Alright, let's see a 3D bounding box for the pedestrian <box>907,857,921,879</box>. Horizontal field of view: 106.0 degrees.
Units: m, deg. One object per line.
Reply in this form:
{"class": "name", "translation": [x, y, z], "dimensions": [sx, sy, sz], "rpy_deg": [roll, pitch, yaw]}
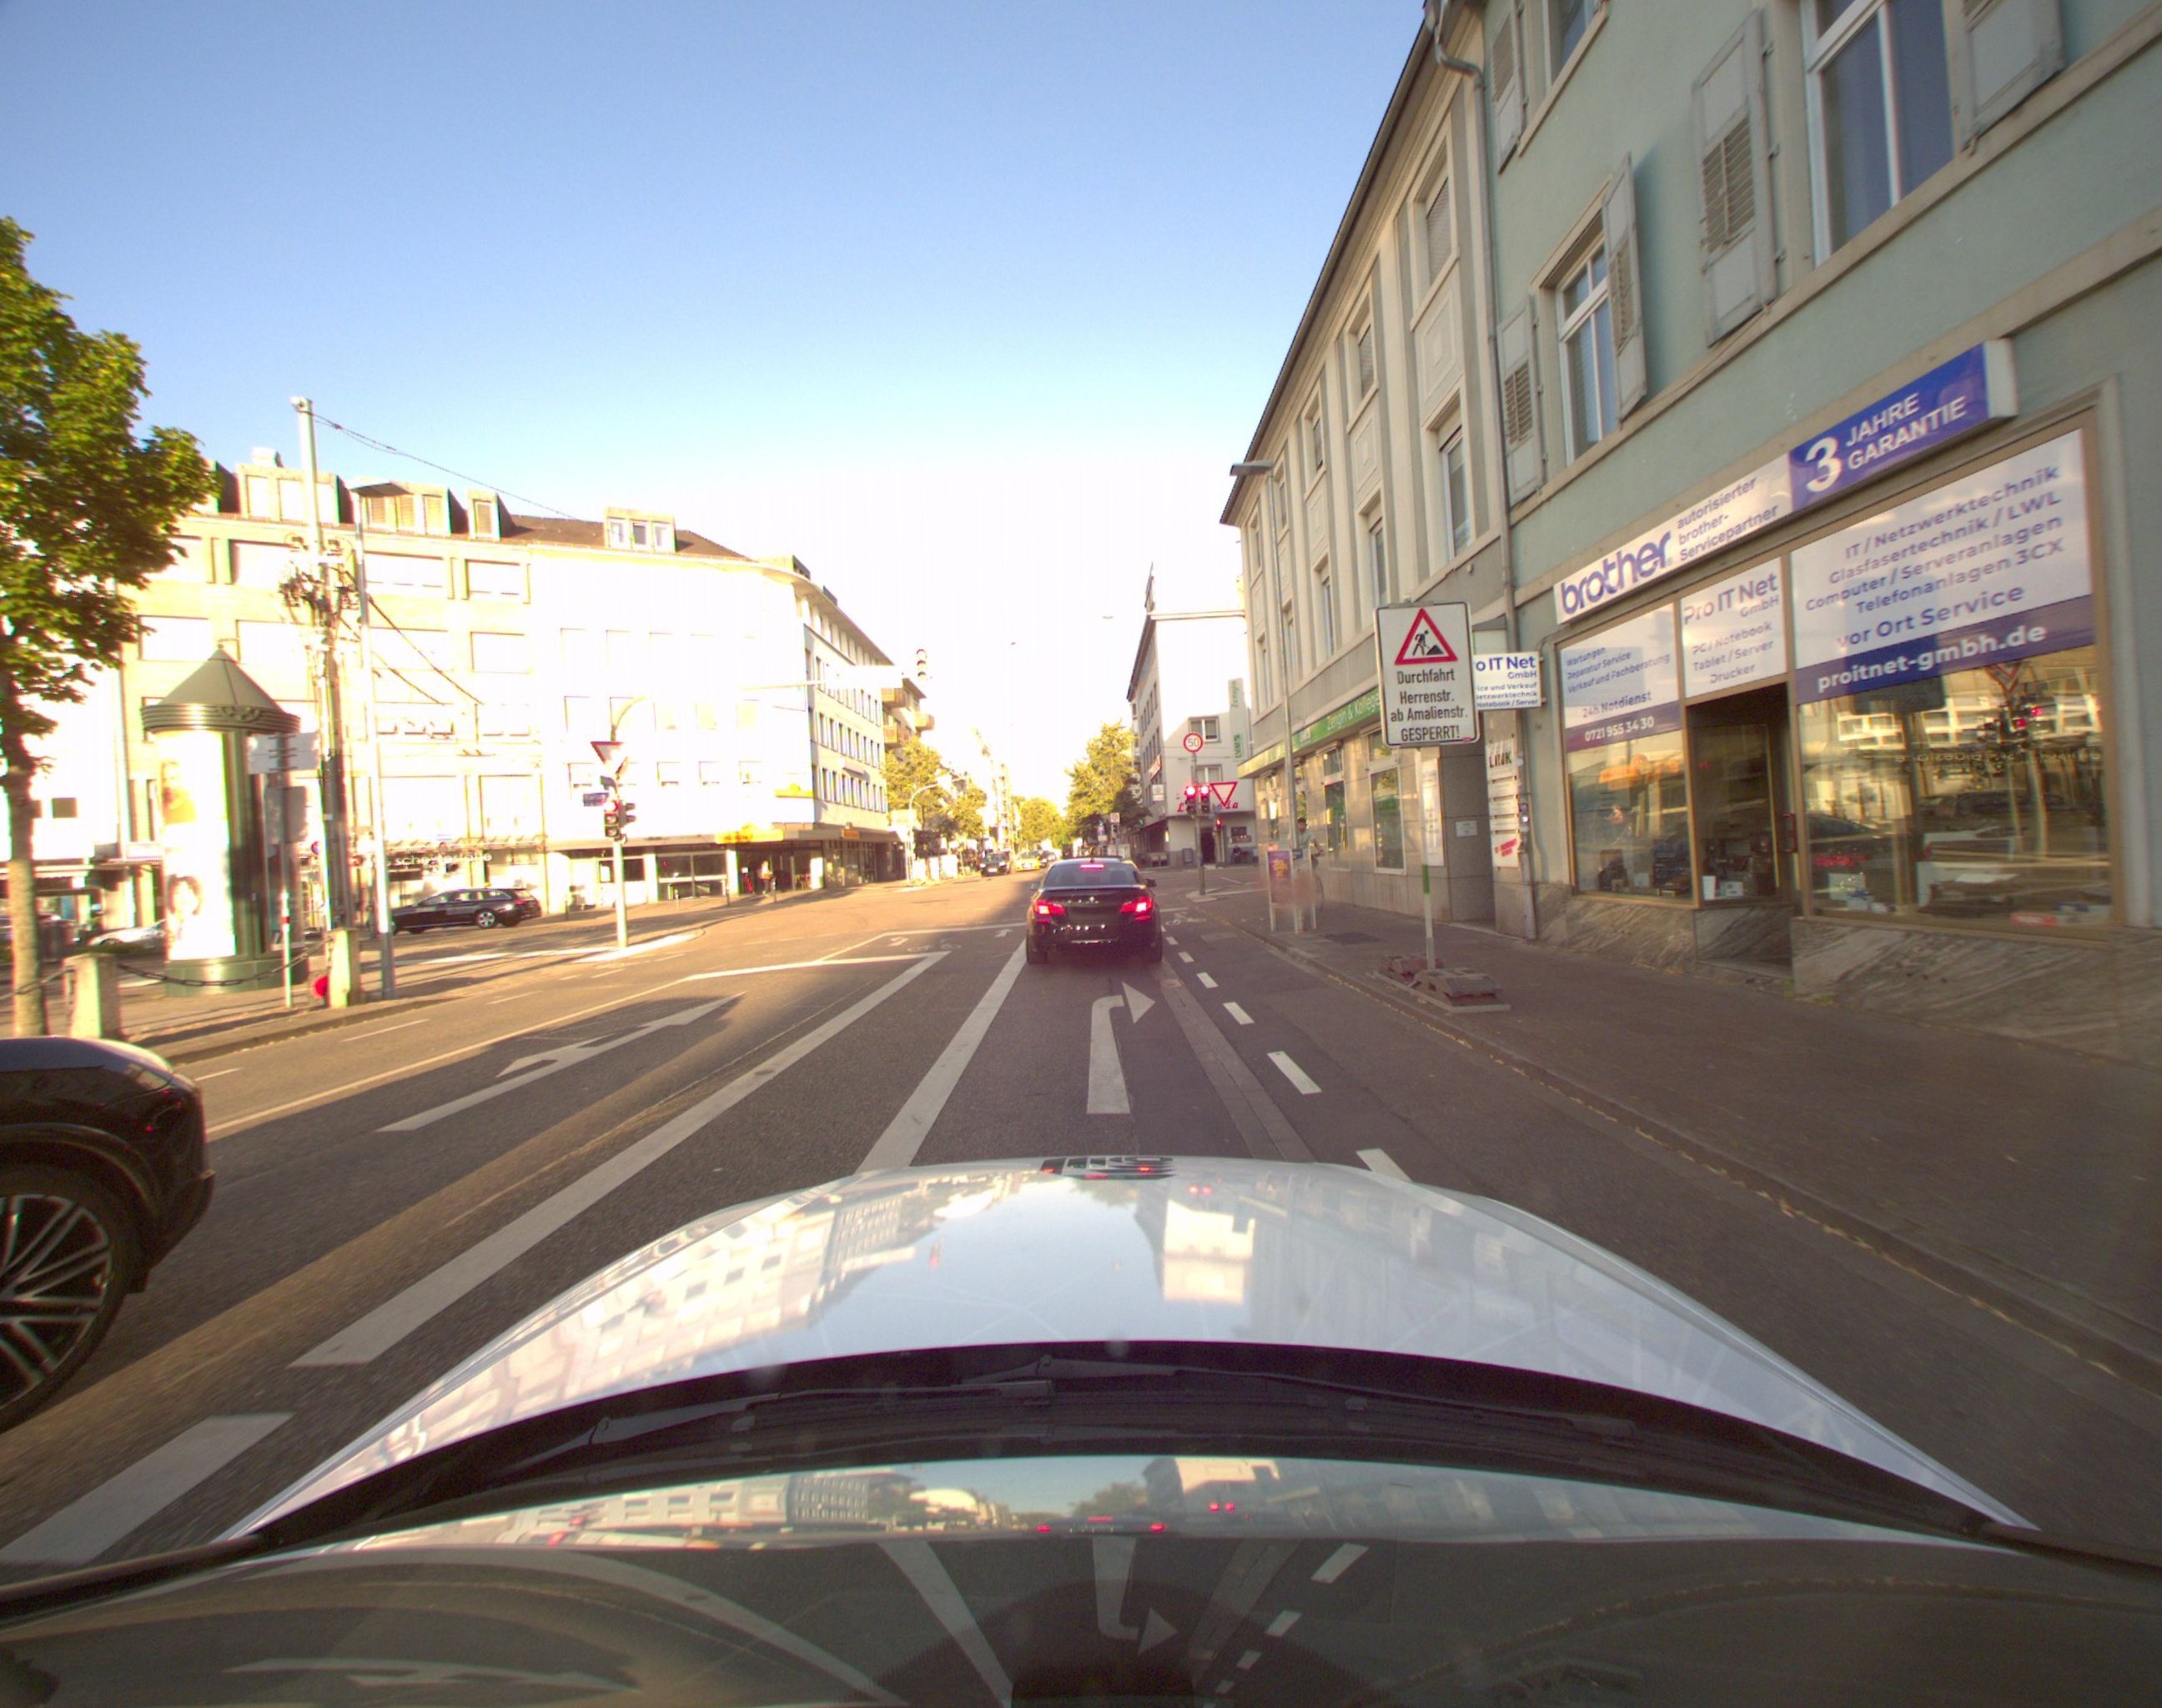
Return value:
{"class": "pedestrian", "translation": [-12.964, 1.096, 63.165], "dimensions": [0.821, 1.676, 0.871], "rpy_deg": [-4, 0, -1]}

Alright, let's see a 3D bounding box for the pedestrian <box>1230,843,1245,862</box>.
{"class": "pedestrian", "translation": [9.917, -0.102, 51.640], "dimensions": [0.695, 1.157, 0.843], "rpy_deg": [-4, 0, -2]}

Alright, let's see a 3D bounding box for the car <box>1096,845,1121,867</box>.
{"class": "car", "translation": [1.993, 0.143, 60.020], "dimensions": [1.620, 1.471, 3.394], "rpy_deg": [-2, 0, 0]}

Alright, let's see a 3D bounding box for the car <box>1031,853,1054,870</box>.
{"class": "car", "translation": [-3.321, 0.647, 70.052], "dimensions": [1.731, 1.293, 3.992], "rpy_deg": [-3, 0, -5]}

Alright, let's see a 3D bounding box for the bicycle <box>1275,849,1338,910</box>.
{"class": "bicycle", "translation": [4.435, 0.473, 16.154], "dimensions": [0.688, 1.107, 1.896], "rpy_deg": [-3, 0, 1]}

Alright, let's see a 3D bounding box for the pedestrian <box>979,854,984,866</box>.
{"class": "pedestrian", "translation": [-12.078, 0.776, 99.035], "dimensions": [0.443, 1.416, 0.525], "rpy_deg": [-3, 0, -2]}

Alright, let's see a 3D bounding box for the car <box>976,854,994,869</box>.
{"class": "car", "translation": [-9.966, 0.774, 84.757], "dimensions": [1.731, 1.461, 3.992], "rpy_deg": [-3, 0, -5]}

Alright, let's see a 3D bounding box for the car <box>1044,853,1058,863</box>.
{"class": "car", "translation": [-4.355, 0.610, 116.962], "dimensions": [1.731, 1.293, 3.992], "rpy_deg": [-3, 0, -5]}

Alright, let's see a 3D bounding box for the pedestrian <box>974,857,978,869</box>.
{"class": "pedestrian", "translation": [-12.624, 1.110, 97.897], "dimensions": [0.443, 1.416, 0.525], "rpy_deg": [-4, 0, -2]}

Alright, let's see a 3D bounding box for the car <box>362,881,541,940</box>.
{"class": "car", "translation": [-21.714, 1.907, 28.294], "dimensions": [4.441, 1.595, 1.870], "rpy_deg": [-3, 0, -14]}

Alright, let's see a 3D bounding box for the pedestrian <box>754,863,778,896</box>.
{"class": "pedestrian", "translation": [-15.202, 1.217, 39.298], "dimensions": [0.950, 1.537, 0.901], "rpy_deg": [-3, 0, -23]}

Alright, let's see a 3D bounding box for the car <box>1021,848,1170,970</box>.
{"class": "car", "translation": [0.162, 0.683, 12.596], "dimensions": [1.898, 1.540, 4.448], "rpy_deg": [0, 0, -1]}

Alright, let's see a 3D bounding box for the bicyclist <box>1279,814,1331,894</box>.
{"class": "bicyclist", "translation": [4.416, 0.001, 16.099], "dimensions": [0.719, 1.507, 0.900], "rpy_deg": [-3, 0, 1]}

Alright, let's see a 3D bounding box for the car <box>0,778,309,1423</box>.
{"class": "car", "translation": [-3.915, 0.731, 0.712], "dimensions": [1.942, 1.714, 4.563], "rpy_deg": [-4, 1, 1]}

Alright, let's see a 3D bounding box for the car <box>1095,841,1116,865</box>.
{"class": "car", "translation": [1.990, -0.050, 66.501], "dimensions": [1.418, 1.854, 3.049], "rpy_deg": [-2, 0, -3]}

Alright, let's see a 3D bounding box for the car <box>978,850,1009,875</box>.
{"class": "car", "translation": [-6.169, 0.585, 57.866], "dimensions": [1.991, 1.618, 3.992], "rpy_deg": [-3, 0, -5]}

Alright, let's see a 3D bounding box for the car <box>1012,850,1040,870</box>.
{"class": "car", "translation": [-4.280, 0.442, 63.292], "dimensions": [1.991, 1.442, 3.992], "rpy_deg": [-3, 0, -5]}
